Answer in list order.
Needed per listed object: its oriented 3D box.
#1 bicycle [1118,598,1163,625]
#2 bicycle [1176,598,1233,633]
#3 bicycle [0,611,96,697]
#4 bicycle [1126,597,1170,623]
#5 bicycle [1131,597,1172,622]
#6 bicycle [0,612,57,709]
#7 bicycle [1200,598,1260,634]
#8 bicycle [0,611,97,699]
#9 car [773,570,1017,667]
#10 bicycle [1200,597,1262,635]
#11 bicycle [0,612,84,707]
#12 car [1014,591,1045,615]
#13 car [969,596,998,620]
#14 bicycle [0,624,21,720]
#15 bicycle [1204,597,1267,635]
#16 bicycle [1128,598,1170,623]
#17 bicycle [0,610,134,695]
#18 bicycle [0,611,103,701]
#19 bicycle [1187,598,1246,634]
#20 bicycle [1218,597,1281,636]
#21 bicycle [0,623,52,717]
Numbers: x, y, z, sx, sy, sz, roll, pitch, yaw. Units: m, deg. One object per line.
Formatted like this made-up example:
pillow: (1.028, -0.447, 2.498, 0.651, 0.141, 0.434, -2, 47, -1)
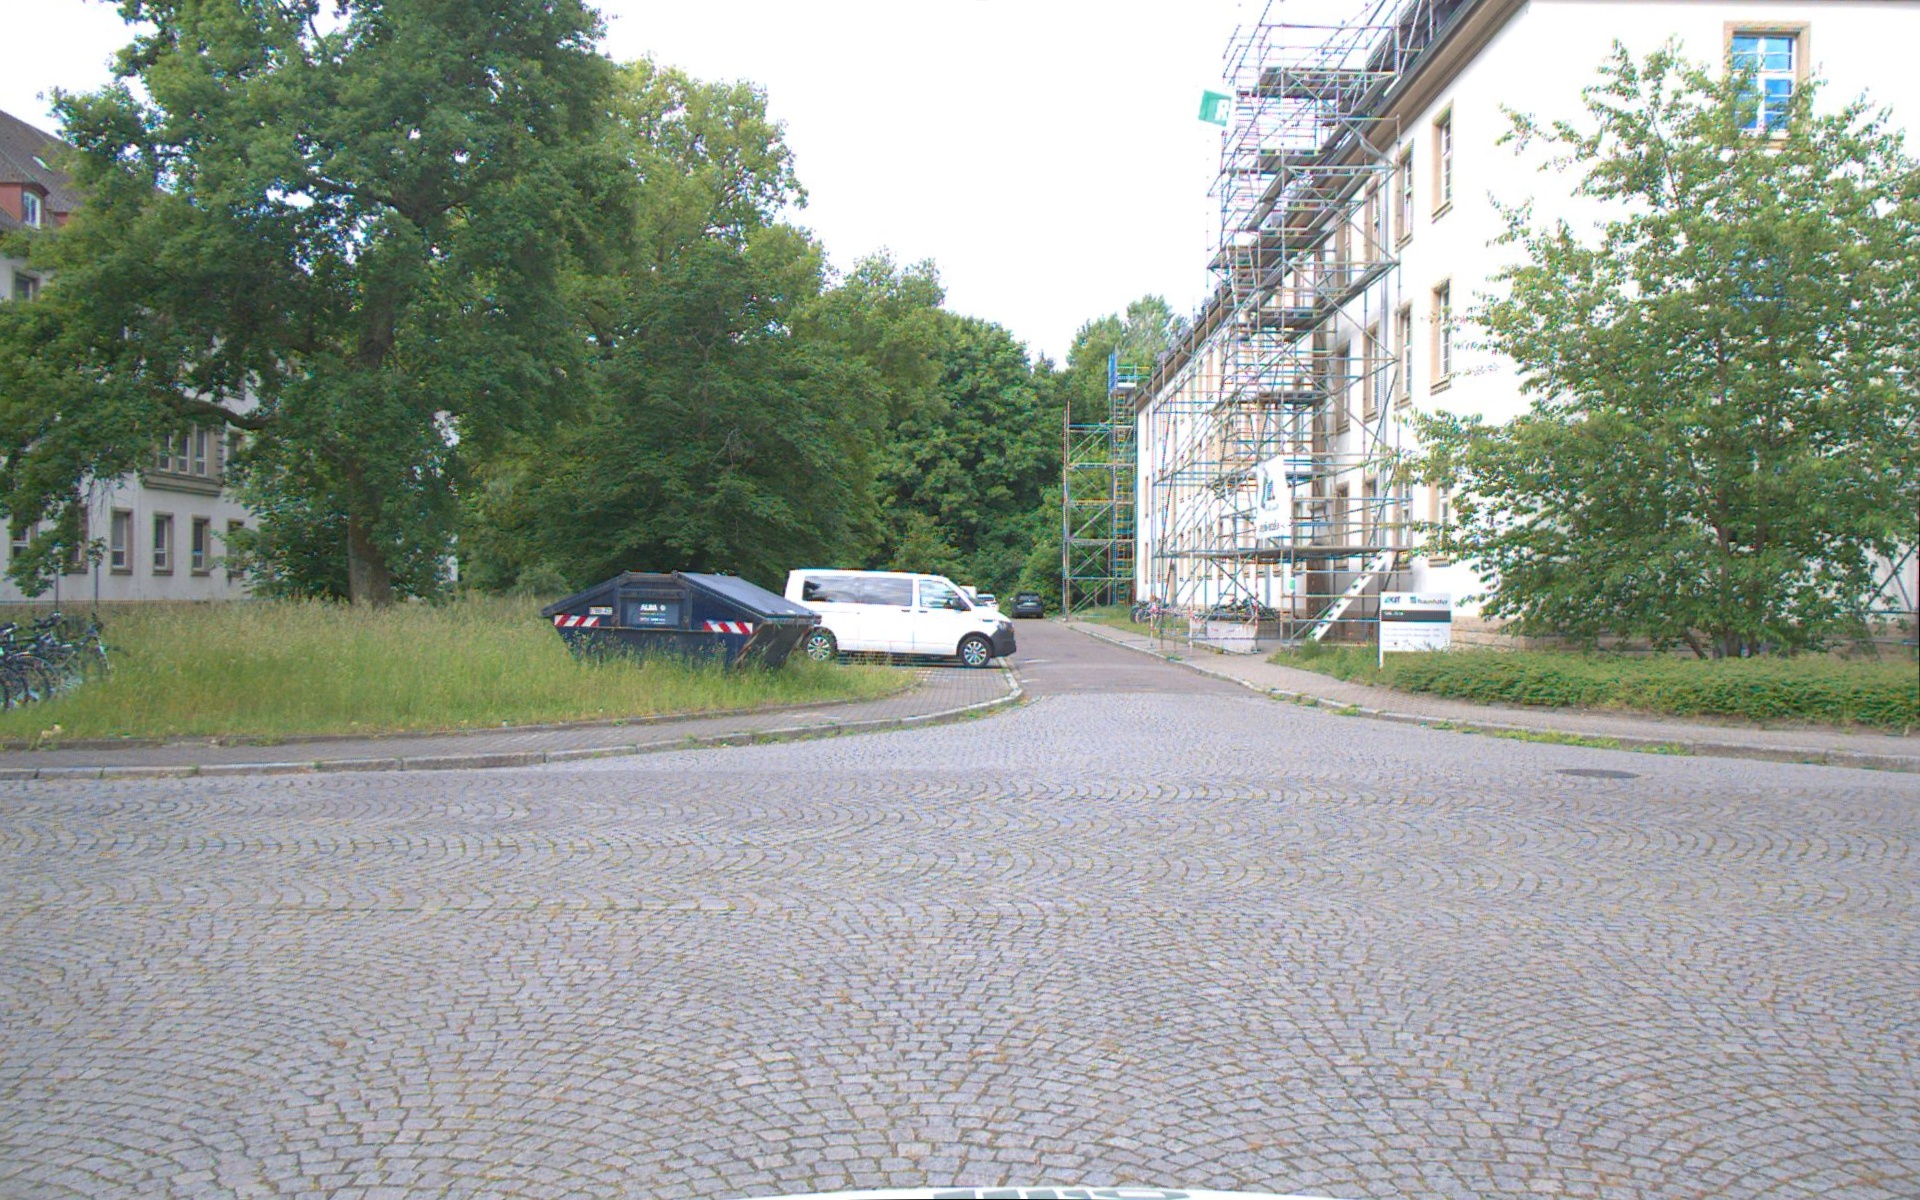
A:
bicycle: (7.713, 0.488, 70.714, 1.818, 1.114, 0.511, 0, 0, 22)
bicycle: (7.985, 0.496, 54.101, 1.816, 1.114, 0.511, 0, 0, 7)
bicycle: (-12.460, 0.711, 22.039, 1.617, 1.131, 0.441, 0, 0, -11)
bicycle: (8.253, 0.425, 72.582, 1.818, 1.114, 0.511, 0, 0, 22)
bicycle: (8.651, 0.441, 74.750, 1.816, 1.114, 0.511, 0, 0, 7)
bicycle: (-11.609, 0.707, 19.380, 1.731, 1.131, 0.475, 0, 0, -17)
bicycle: (8.272, 0.488, 50.713, 1.816, 1.114, 0.511, 0, 0, 7)
bicycle: (-12.201, 0.713, 21.549, 1.617, 1.131, 0.441, 0, 0, -11)
car: (-1.373, 0.389, 35.992, 5.152, 2.031, 1.968, 0, 0, -1)
bicycle: (8.164, 0.486, 49.912, 1.816, 1.114, 0.511, 0, 0, 7)
bicycle: (-11.565, 0.710, 19.916, 1.735, 1.131, 0.474, 0, 0, -22)
car: (4.126, 0.184, 98.894, 1.547, 1.395, 3.951, 0, 0, -2)
car: (1.401, 0.467, 98.928, 1.547, 1.362, 3.951, 0, 0, -2)
bicycle: (-11.072, 0.795, 17.753, 1.635, 1.025, 0.475, -1, 0, -17)
bicycle: (8.180, 0.480, 49.119, 1.816, 1.114, 0.511, 0, 0, 7)
bicycle: (8.455, 0.455, 73.958, 1.816, 1.114, 0.511, 0, 0, 7)
bicycle: (-12.314, 0.709, 22.640, 1.731, 1.131, 0.475, 0, 0, -17)
bicycle: (-11.976, 0.708, 21.155, 1.731, 1.131, 0.475, 0, 0, -17)
bicycle: (8.018, 0.488, 51.707, 1.816, 1.114, 0.511, 0, 0, 7)
bicycle: (8.491, 0.482, 48.573, 1.816, 1.114, 0.511, 0, 0, 7)
bicycle: (-11.151, 0.797, 18.526, 1.635, 1.025, 0.475, -1, 0, -17)
